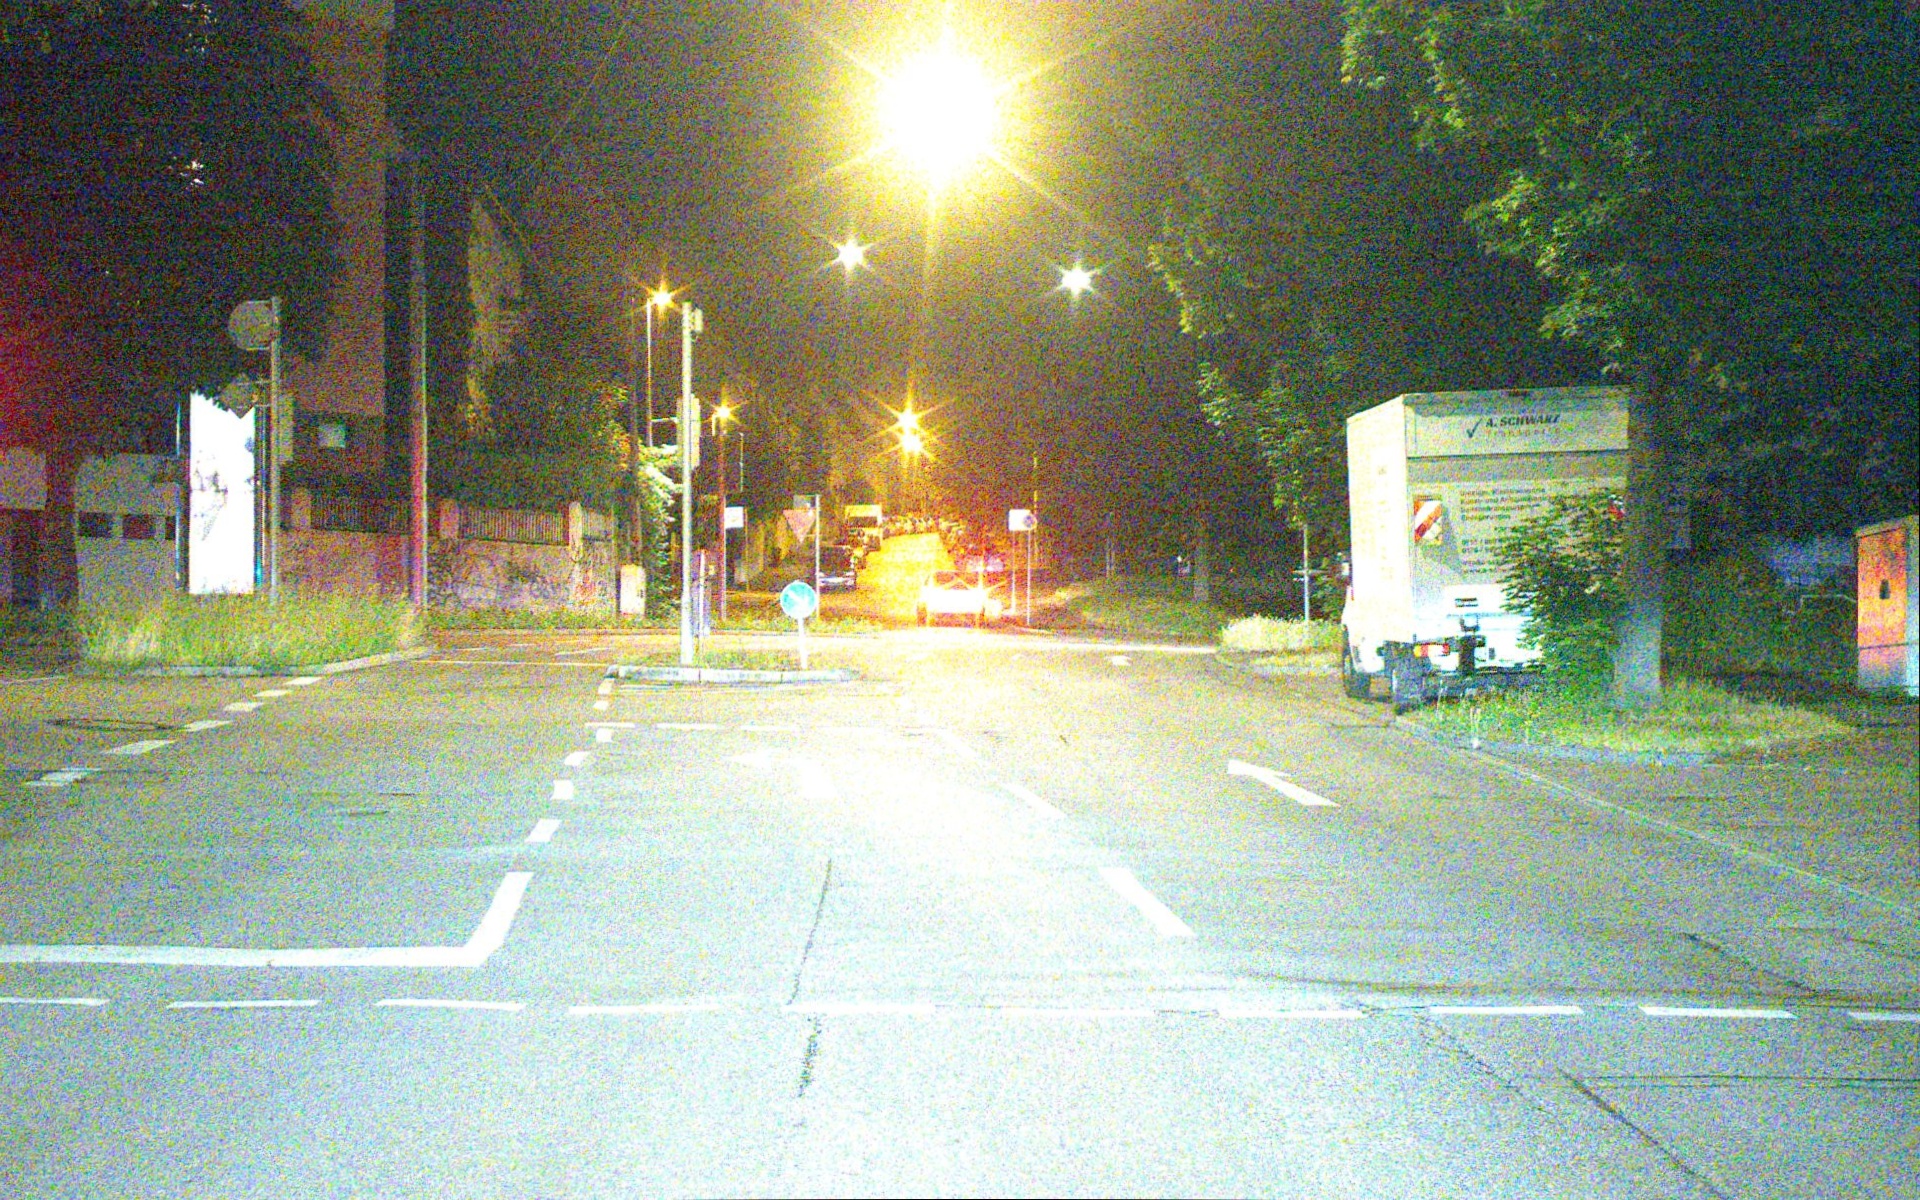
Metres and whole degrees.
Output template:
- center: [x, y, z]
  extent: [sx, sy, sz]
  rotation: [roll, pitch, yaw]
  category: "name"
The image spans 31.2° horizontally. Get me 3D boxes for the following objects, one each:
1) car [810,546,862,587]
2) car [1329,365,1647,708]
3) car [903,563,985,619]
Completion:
- center: [-4.843, -1.292, 134.359]
  extent: [1.908, 1.552, 3.904]
  rotation: [1, 1, -1]
  category: "car"
- center: [5.119, -0.613, 34.224]
  extent: [2.297, 3.082, 5.840]
  rotation: [-1, 1, 1]
  category: "car"
- center: [-0.458, -0.258, 93.216]
  extent: [1.775, 1.481, 4.001]
  rotation: [1, 1, -6]
  category: "car"
